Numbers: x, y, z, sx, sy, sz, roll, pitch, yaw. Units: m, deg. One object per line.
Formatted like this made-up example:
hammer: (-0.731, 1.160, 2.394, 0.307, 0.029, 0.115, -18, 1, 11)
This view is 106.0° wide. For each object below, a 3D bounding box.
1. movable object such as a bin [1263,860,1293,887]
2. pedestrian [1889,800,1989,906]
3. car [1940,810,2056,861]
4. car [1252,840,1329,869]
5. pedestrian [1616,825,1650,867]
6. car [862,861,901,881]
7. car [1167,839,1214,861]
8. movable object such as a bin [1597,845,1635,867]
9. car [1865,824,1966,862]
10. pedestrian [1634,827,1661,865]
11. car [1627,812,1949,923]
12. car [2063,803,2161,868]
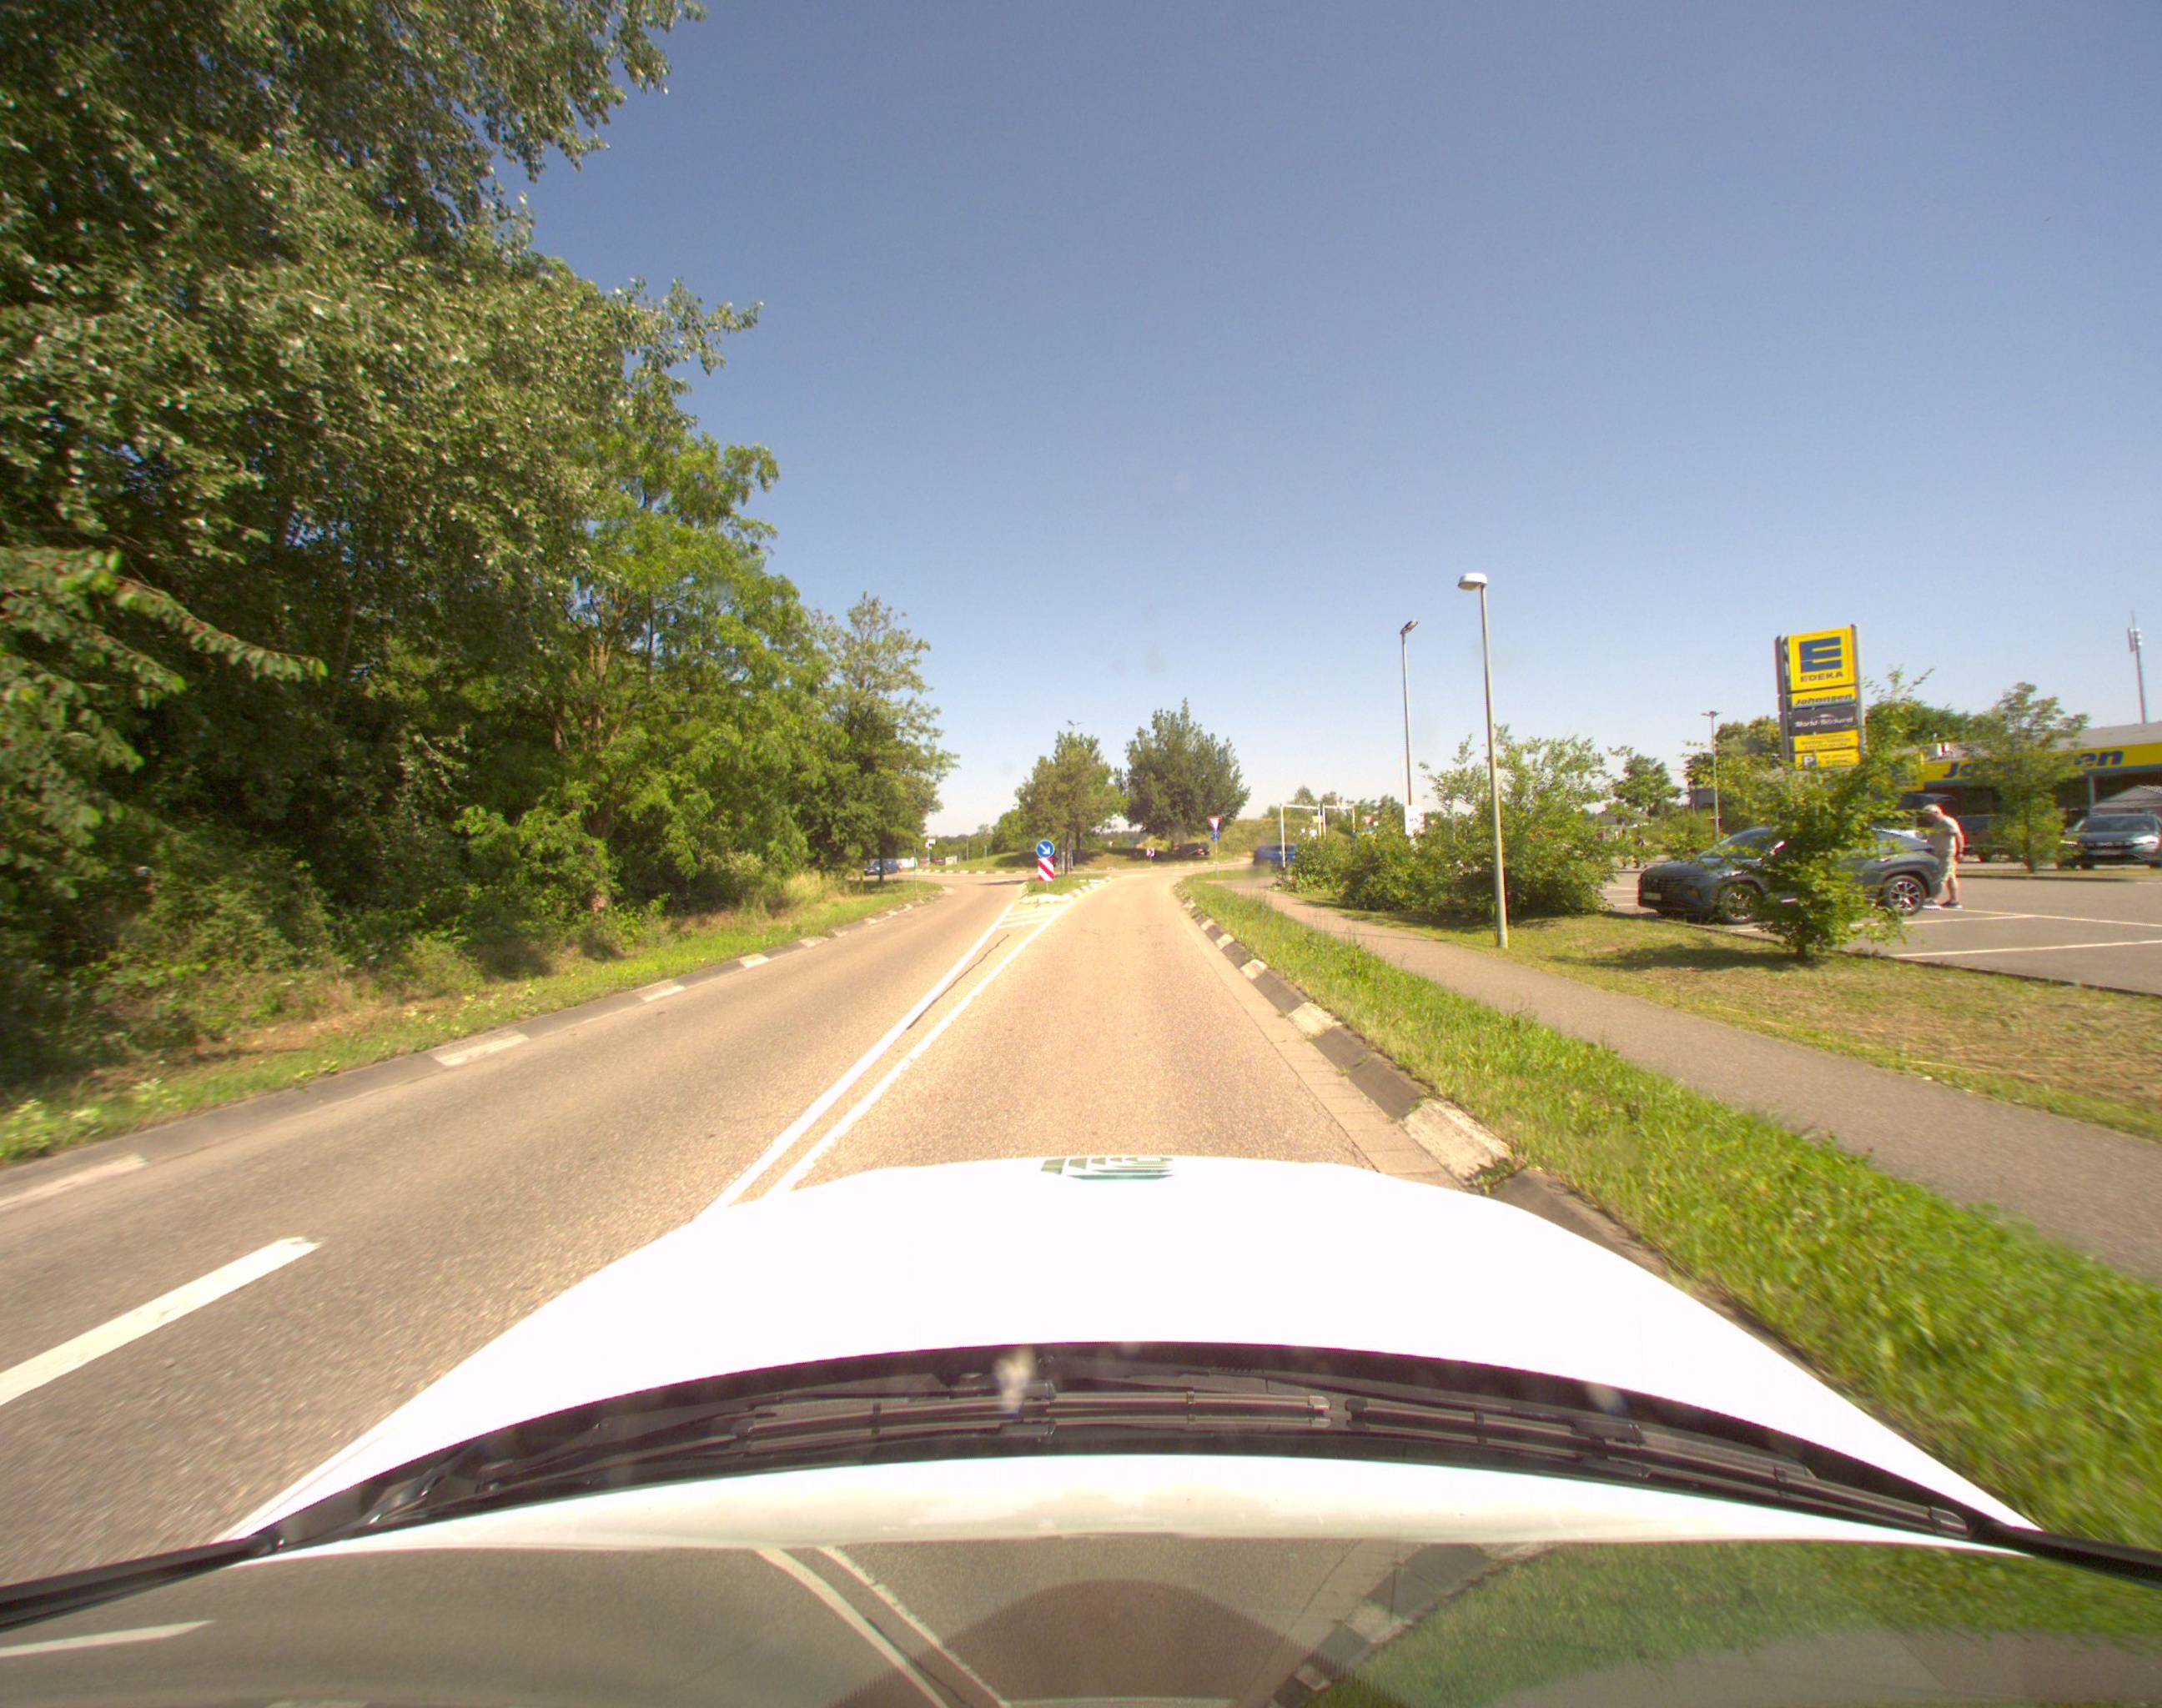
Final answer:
movable object such as a bin: (8.395, 0.823, 34.659, 0.859, 1.120, 1.464, -2, 0, 30)
pedestrian: (15.226, -0.013, 14.480, 0.815, 1.797, 0.867, -2, 0, 4)
car: (37.183, -0.738, 33.041, 3.490, 1.929, 1.867, -2, 0, -18)
car: (12.727, 0.035, 49.515, 4.379, 1.571, 1.724, -2, 0, 17)
pedestrian: (24.120, -0.336, 35.585, 0.877, 1.785, 0.841, -2, 0, -6)
car: (-16.585, 1.376, 67.934, 1.824, 1.387, 4.430, -3, 1, 5)
car: (10.693, -0.386, 79.497, 3.948, 2.013, 2.013, -2, 0, 38)
movable object such as a bin: (24.043, 0.098, 36.613, 0.876, 0.955, 1.202, -2, 0, -5)
car: (36.168, -0.476, 35.310, 3.490, 1.498, 1.706, -2, 0, -18)
pedestrian: (25.094, -0.338, 36.073, 0.700, 1.648, 0.596, -2, 0, -3)
car: (12.410, 0.227, 14.520, 4.102, 1.627, 1.753, -3, 0, 2)
car: (27.828, -0.504, 21.689, 4.015, 1.588, 1.644, -2, 0, -33)
